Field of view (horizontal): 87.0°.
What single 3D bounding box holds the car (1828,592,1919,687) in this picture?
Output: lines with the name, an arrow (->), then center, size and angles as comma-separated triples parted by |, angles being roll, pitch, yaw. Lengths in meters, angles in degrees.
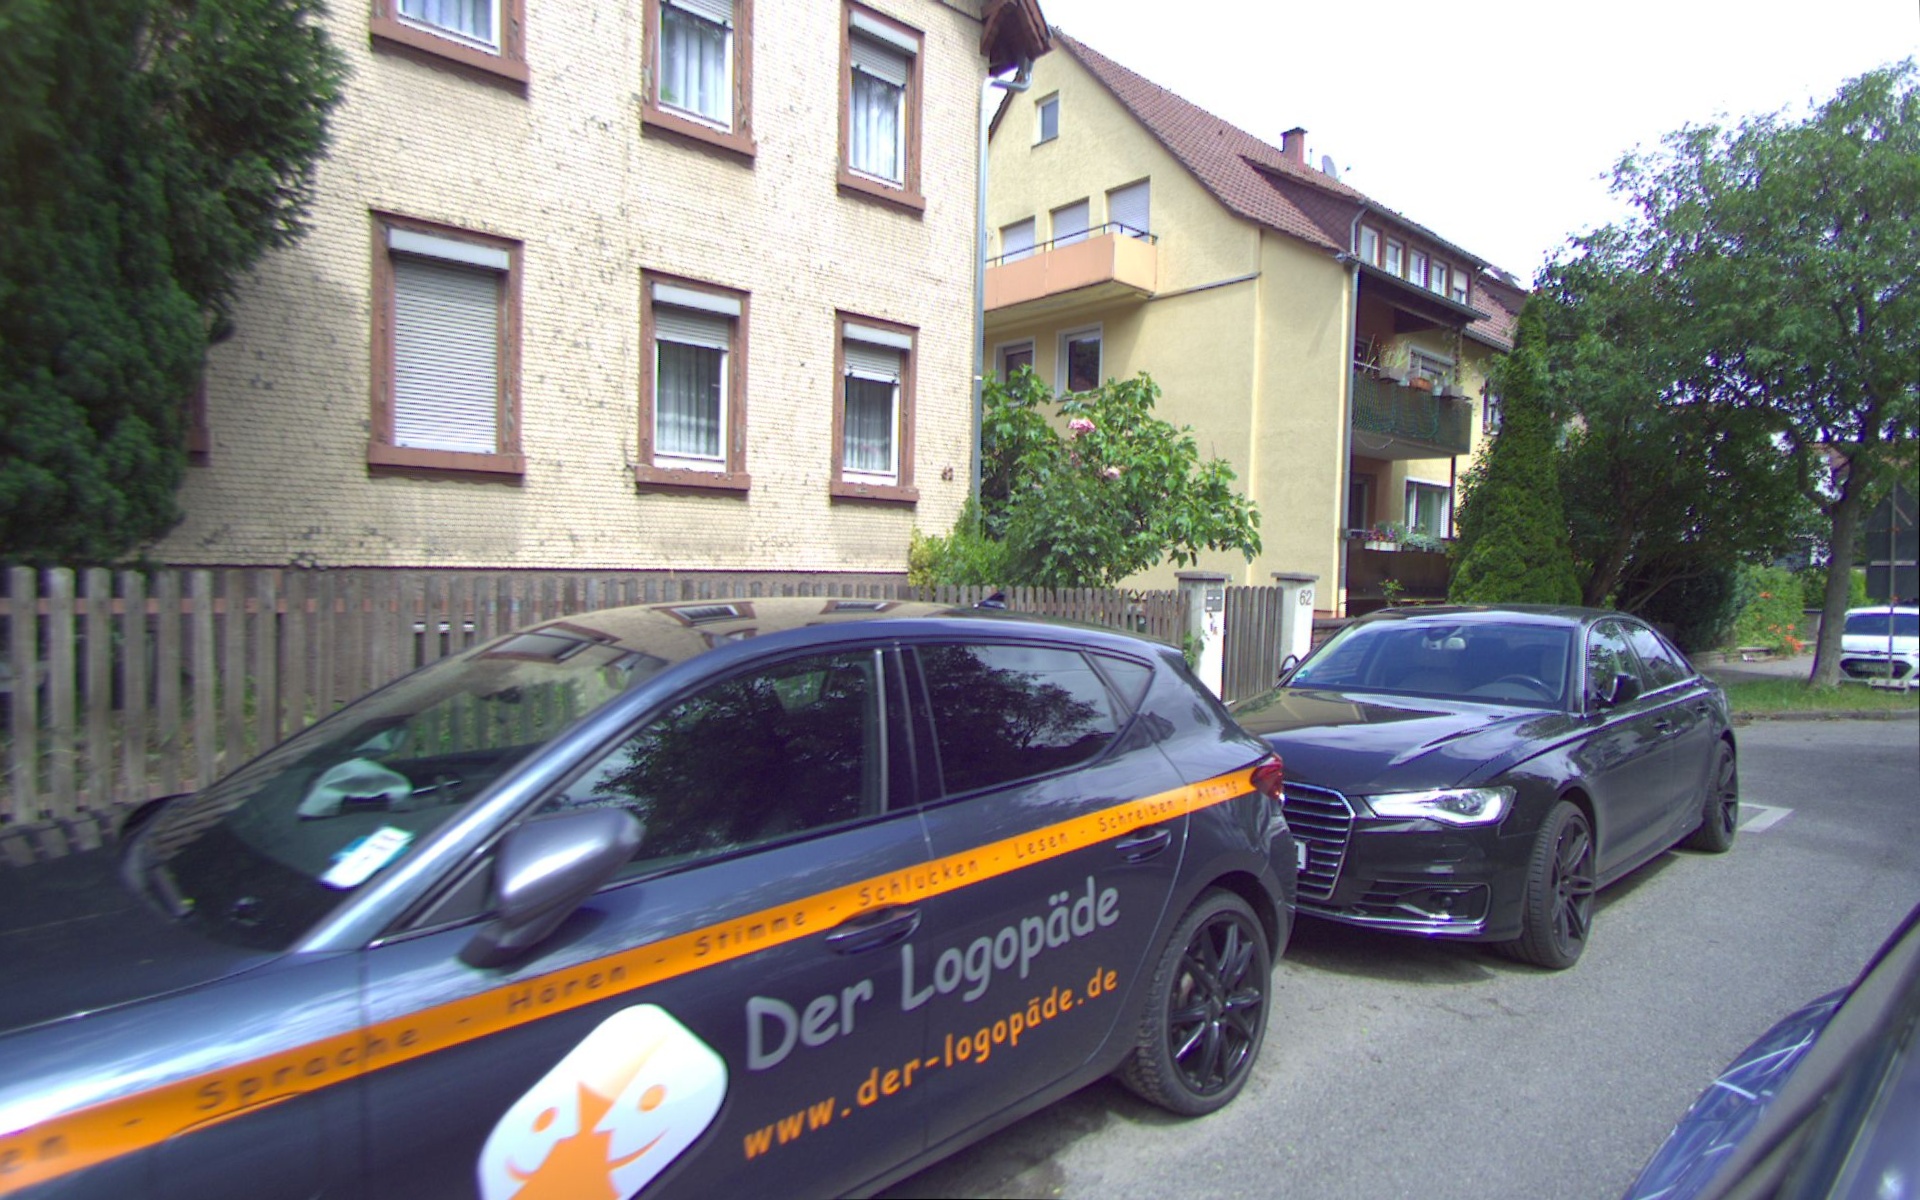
car -> 17.098, 0.679, 18.257 | 3.713, 1.526, 1.625 | 1, 2, -41

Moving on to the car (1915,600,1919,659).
car -> 25.541, 0.732, 25.477 | 4.797, 1.447, 1.737 | 1, -1, -41

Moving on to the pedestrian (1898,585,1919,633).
pedestrian -> 35.185, 0.323, 37.194 | 0.827, 1.733, 0.882 | 0, 2, -40

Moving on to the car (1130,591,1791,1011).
car -> 3.201, 0.713, 5.853 | 4.803, 1.463, 1.804 | 0, 0, -42

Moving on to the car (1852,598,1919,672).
car -> 21.036, 0.746, 21.815 | 4.506, 1.440, 1.998 | 1, 2, -40

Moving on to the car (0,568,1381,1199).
car -> -0.783, 0.669, 2.644 | 4.433, 1.435, 1.826 | 0, 1, -43
